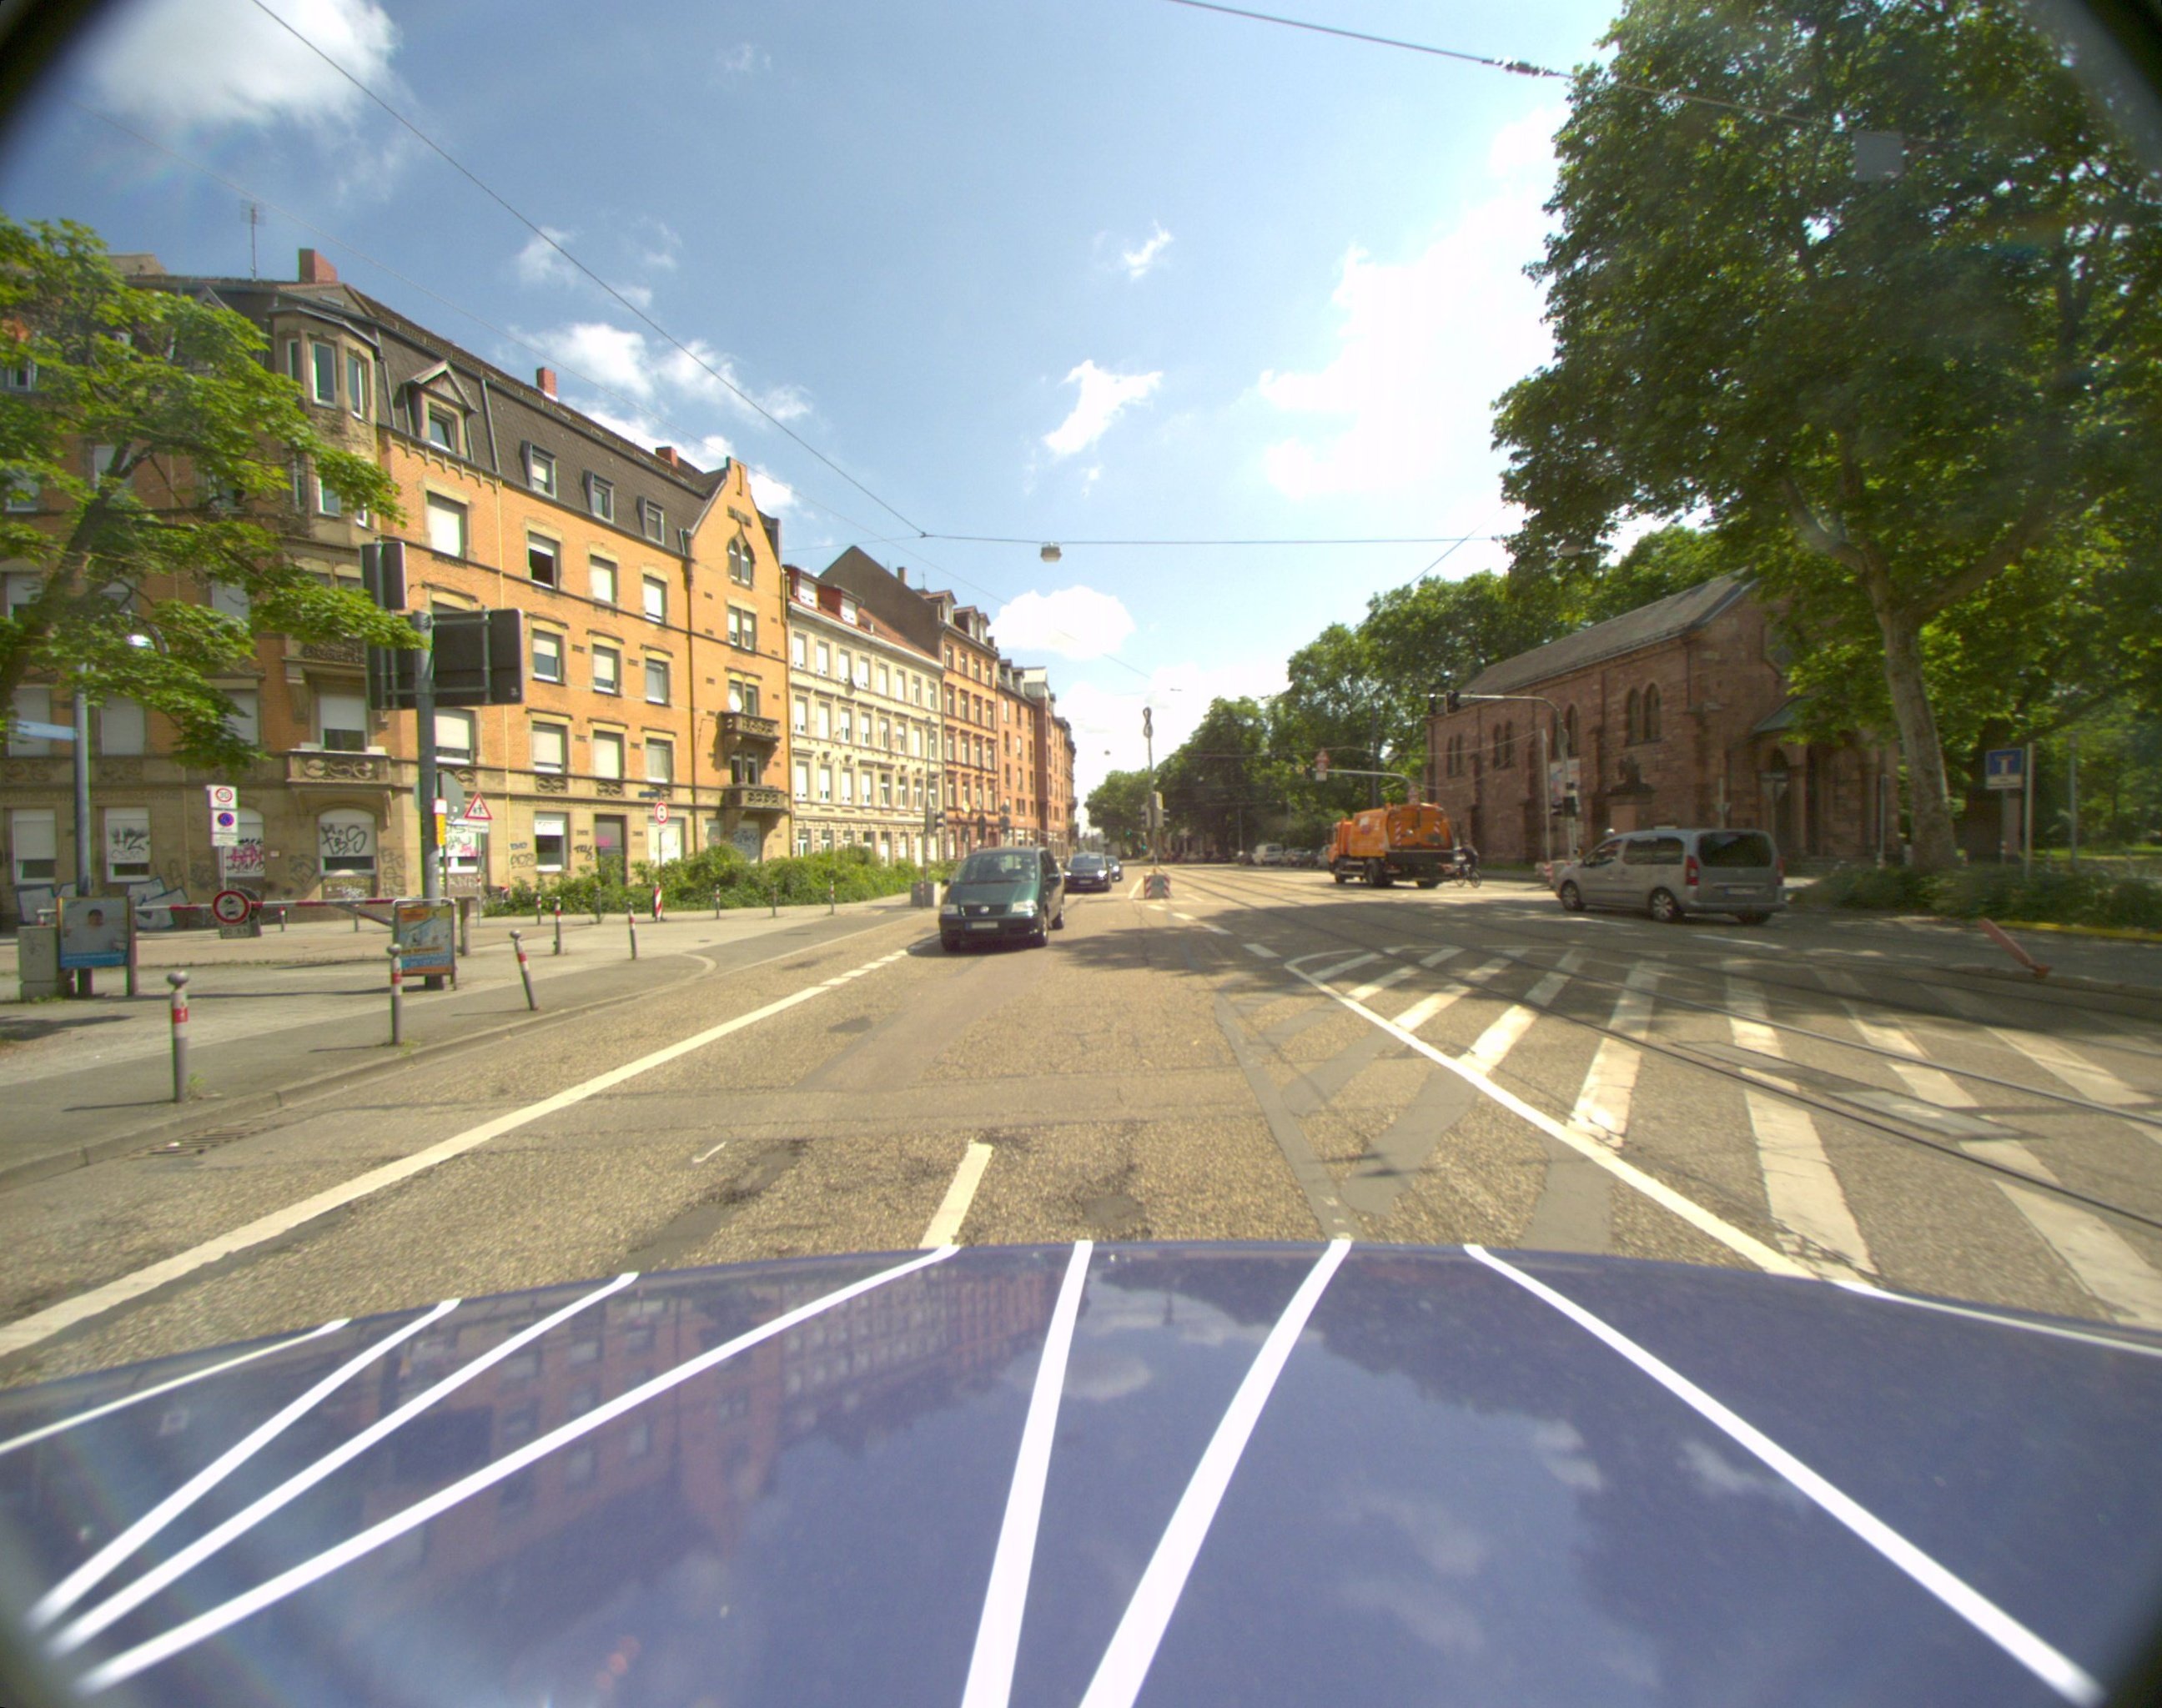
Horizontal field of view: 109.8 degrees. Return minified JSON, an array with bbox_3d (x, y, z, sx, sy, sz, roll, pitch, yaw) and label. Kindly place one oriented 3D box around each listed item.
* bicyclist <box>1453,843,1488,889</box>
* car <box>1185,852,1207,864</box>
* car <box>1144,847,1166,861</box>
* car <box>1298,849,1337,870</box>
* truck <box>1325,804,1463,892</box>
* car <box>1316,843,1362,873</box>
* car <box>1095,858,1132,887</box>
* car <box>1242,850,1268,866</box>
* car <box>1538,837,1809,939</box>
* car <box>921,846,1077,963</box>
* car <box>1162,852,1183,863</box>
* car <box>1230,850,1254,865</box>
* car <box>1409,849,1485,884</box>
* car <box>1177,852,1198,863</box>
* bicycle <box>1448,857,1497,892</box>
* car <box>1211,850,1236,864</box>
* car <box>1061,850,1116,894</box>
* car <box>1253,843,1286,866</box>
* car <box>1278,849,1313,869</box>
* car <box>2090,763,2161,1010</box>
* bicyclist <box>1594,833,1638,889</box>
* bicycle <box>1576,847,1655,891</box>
[{"bbox_3d":[14.855,0.443,28.990,0.703,1.676,1.176,-2,0,0],"label":"bicyclist"},{"bbox_3d":[15.222,0.497,100.650,1.762,1.488,3.997,-3,0,-8],"label":"car"},{"bbox_3d":[12.301,0.002,126.351,1.765,2.172,3.991,-3,1,-28],"label":"car"},{"bbox_3d":[17.641,0.386,56.874,1.761,1.488,4.000,-3,0,2],"label":"car"},{"bbox_3d":[12.171,-0.250,30.345,2.645,3.088,7.222,0,0,1],"label":"truck"},{"bbox_3d":[17.474,0.251,51.586,1.761,1.825,4.000,-3,0,2],"label":"car"},{"bbox_3d":[1.853,0.986,42.762,1.914,1.386,4.313,-3,1,3],"label":"car"},{"bbox_3d":[17.491,0.387,76.524,1.761,1.488,4.000,-3,0,2],"label":"car"},{"bbox_3d":[11.611,0.574,15.405,1.925,1.736,4.537,1,0,0],"label":"car"},{"bbox_3d":[-1.304,0.778,14.433,1.822,1.746,5.033,-3,1,6],"label":"car"},{"bbox_3d":[13.494,0.538,112.166,1.763,1.488,3.995,-3,0,-15],"label":"car"},{"bbox_3d":[17.515,0.344,82.654,1.761,1.488,4.000,-3,0,2],"label":"car"},{"bbox_3d":[17.282,0.545,36.081,1.761,1.488,4.000,-3,0,2],"label":"car"},{"bbox_3d":[14.658,0.480,104.986,1.762,1.488,3.997,-3,0,-8],"label":"car"},{"bbox_3d":[14.870,0.756,28.959,0.706,1.282,2.218,-2,0,0],"label":"bicycle"},{"bbox_3d":[16.860,0.337,90.025,1.762,1.488,3.998,-3,0,-5],"label":"car"},{"bbox_3d":[0.385,0.694,31.700,1.875,1.610,4.190,-2,1,5],"label":"car"},{"bbox_3d":[17.626,0.013,71.246,1.993,1.992,4.084,-3,1,-1],"label":"car"},{"bbox_3d":[17.505,0.357,62.214,1.761,1.488,4.000,-3,0,2],"label":"car"},{"bbox_3d":[11.473,0.326,4.286,2.261,2.360,6.980,0,0,0],"label":"car"},{"bbox_3d":[17.660,0.242,25.112,0.884,1.774,0.662,-4,1,-3],"label":"bicyclist"},{"bbox_3d":[17.646,0.477,25.116,2.087,1.282,0.671,-4,1,-2],"label":"bicycle"}]
